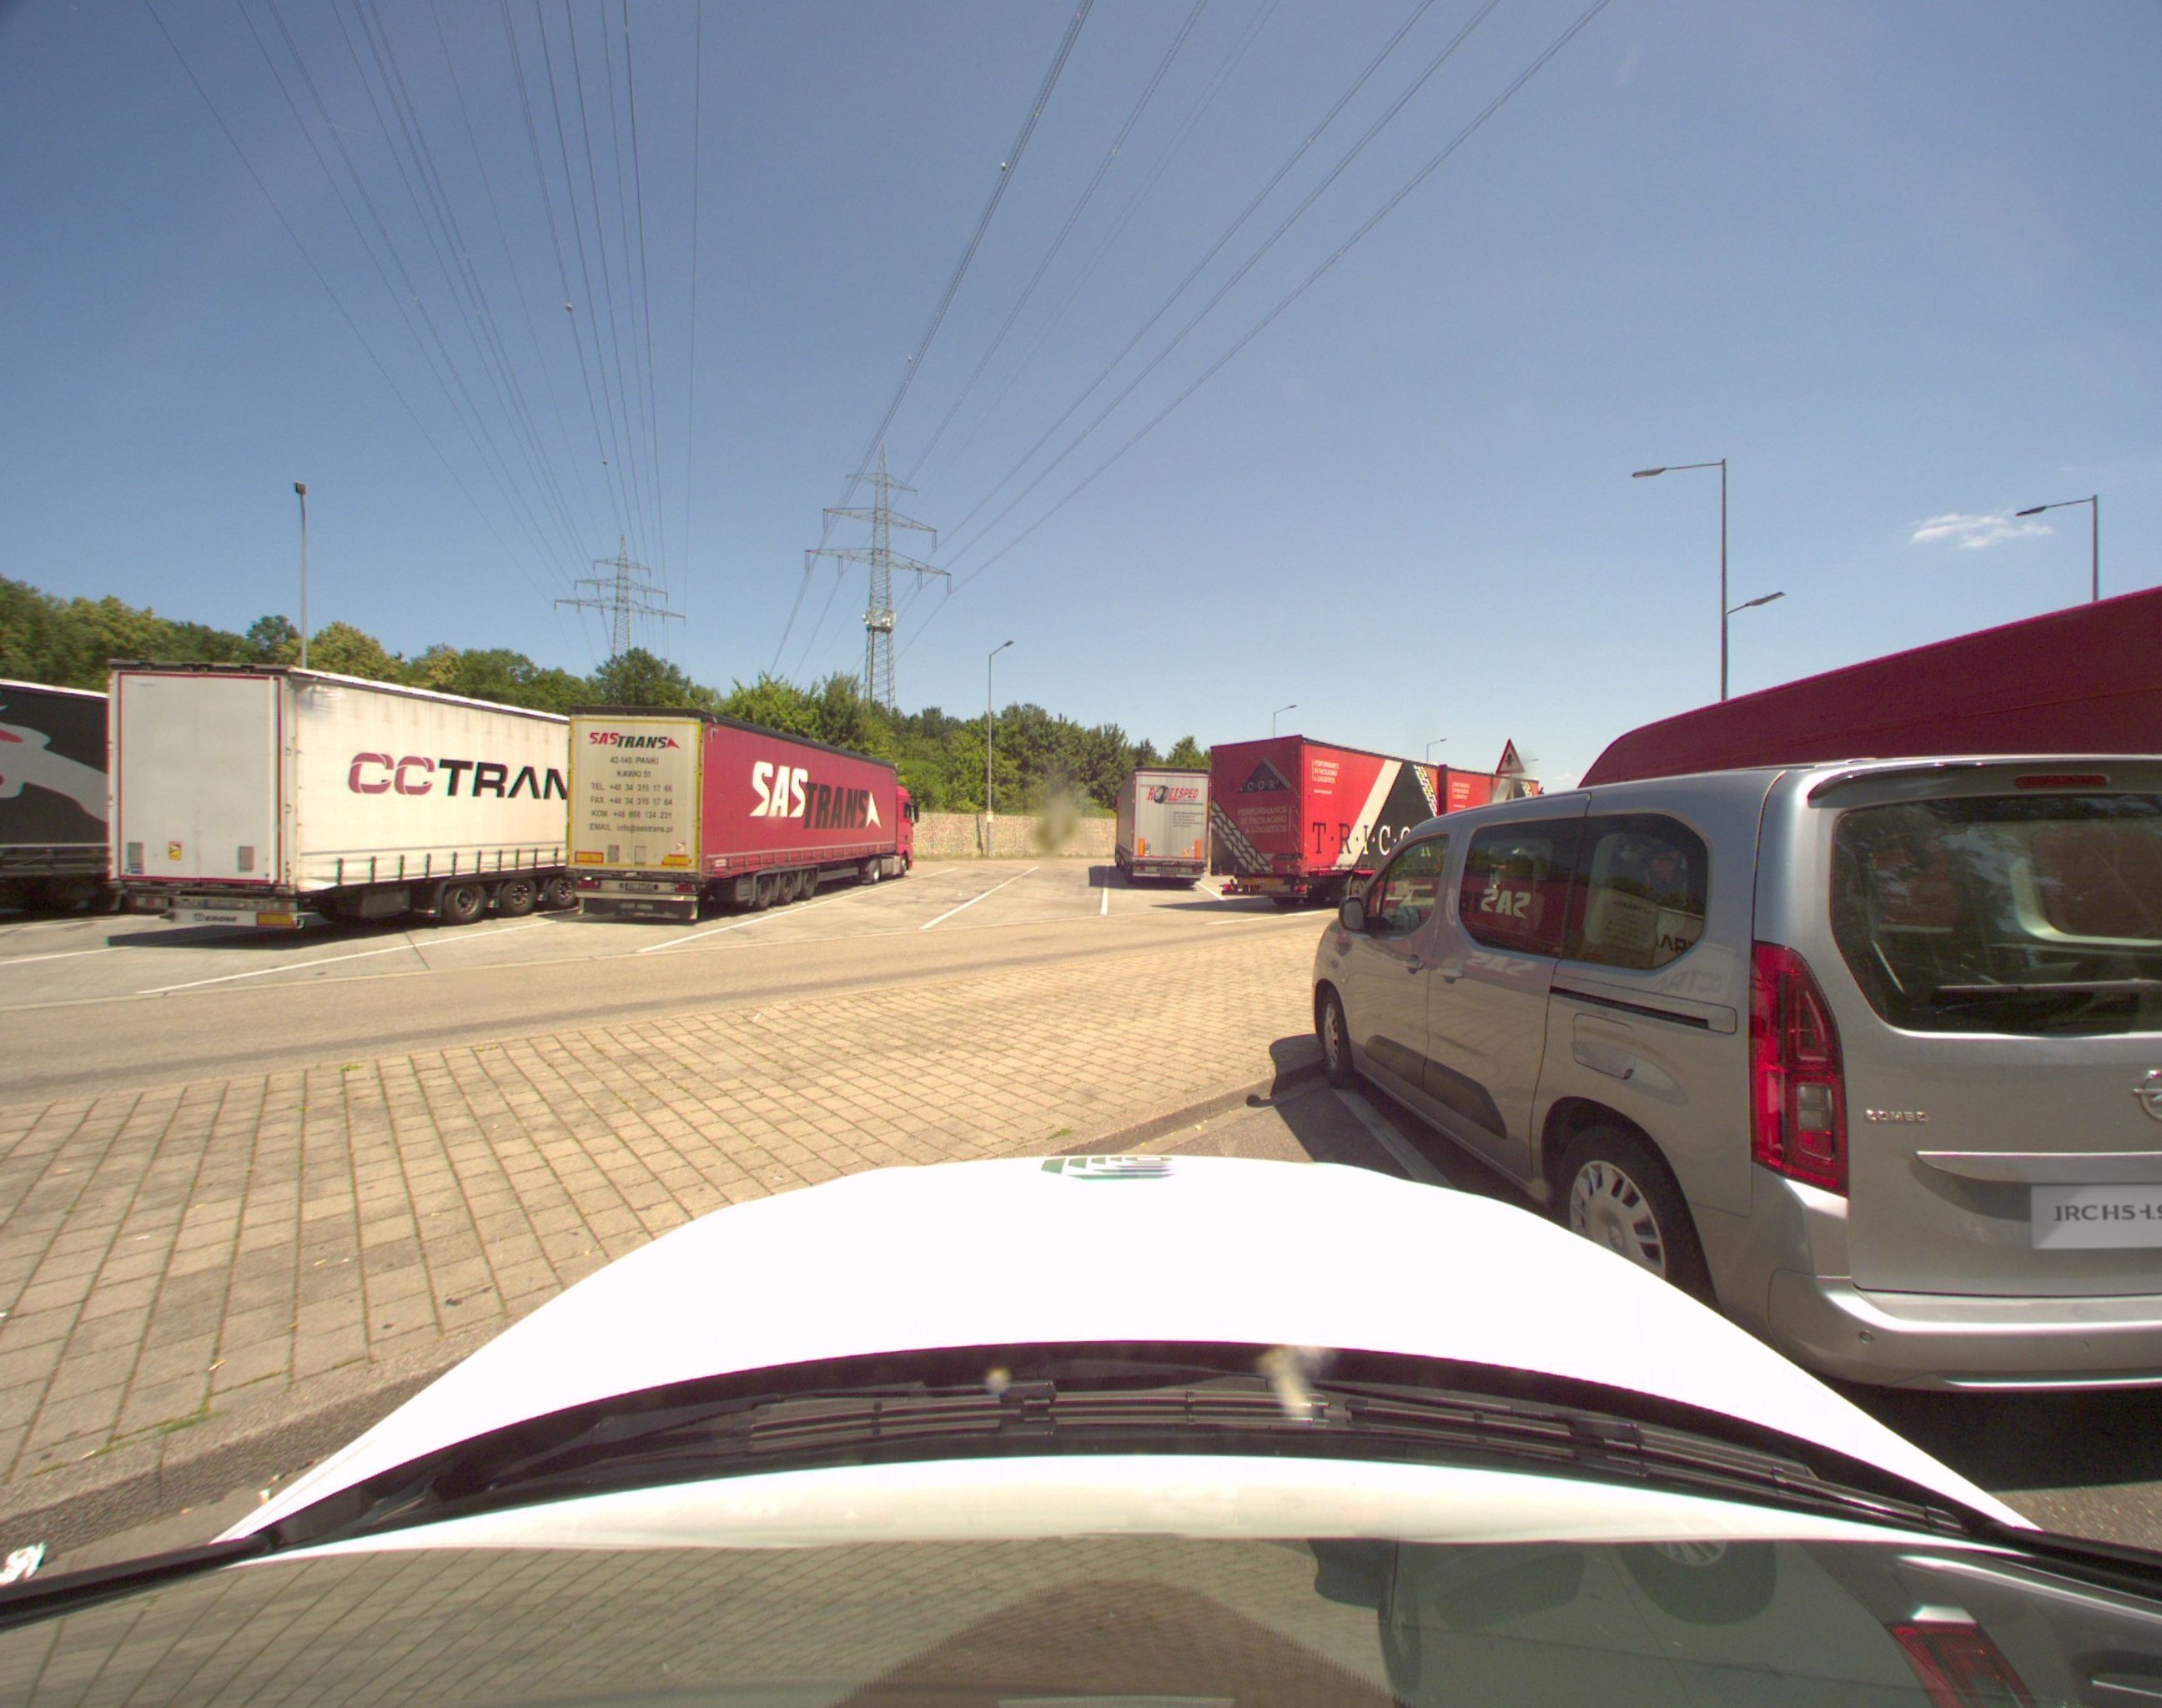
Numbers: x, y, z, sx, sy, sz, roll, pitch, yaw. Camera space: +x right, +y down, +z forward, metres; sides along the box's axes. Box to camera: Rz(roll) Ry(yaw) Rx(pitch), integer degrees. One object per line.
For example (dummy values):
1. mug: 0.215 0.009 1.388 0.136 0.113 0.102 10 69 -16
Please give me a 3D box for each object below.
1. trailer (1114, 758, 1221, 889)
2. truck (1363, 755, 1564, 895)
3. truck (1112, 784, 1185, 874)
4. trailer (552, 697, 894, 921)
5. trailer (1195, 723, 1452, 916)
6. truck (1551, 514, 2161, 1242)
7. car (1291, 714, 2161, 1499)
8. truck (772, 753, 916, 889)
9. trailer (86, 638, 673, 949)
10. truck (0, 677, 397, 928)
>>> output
1. trailer: 3.045 -1.191 32.742 3.059 4.227 12.811 1 2 1
2. truck: 13.837 -0.952 28.754 10.665 4.127 2.661 -1 1 -43
3. truck: 3.127 -1.226 39.514 3.016 3.928 6.848 1 2 1
4. trailer: -8.048 -0.921 21.494 2.739 4.057 13.292 -1 1 2
5. trailer: 6.904 -0.849 22.072 8.736 4.257 2.808 -1 1 -44
6. truck: 5.098 0.049 4.876 1.983 2.623 5.312 -1 1 6
7. car: 2.469 0.528 3.855 1.821 1.753 3.998 -1 1 -2
8. truck: -7.839 -1.055 28.019 2.733 4.081 6.832 -1 1 1
9. trailer: -12.100 -0.899 16.076 2.734 4.263 9.740 0 1 3
10. truck: -18.512 -0.859 15.970 2.627 4.018 8.640 -1 1 2
